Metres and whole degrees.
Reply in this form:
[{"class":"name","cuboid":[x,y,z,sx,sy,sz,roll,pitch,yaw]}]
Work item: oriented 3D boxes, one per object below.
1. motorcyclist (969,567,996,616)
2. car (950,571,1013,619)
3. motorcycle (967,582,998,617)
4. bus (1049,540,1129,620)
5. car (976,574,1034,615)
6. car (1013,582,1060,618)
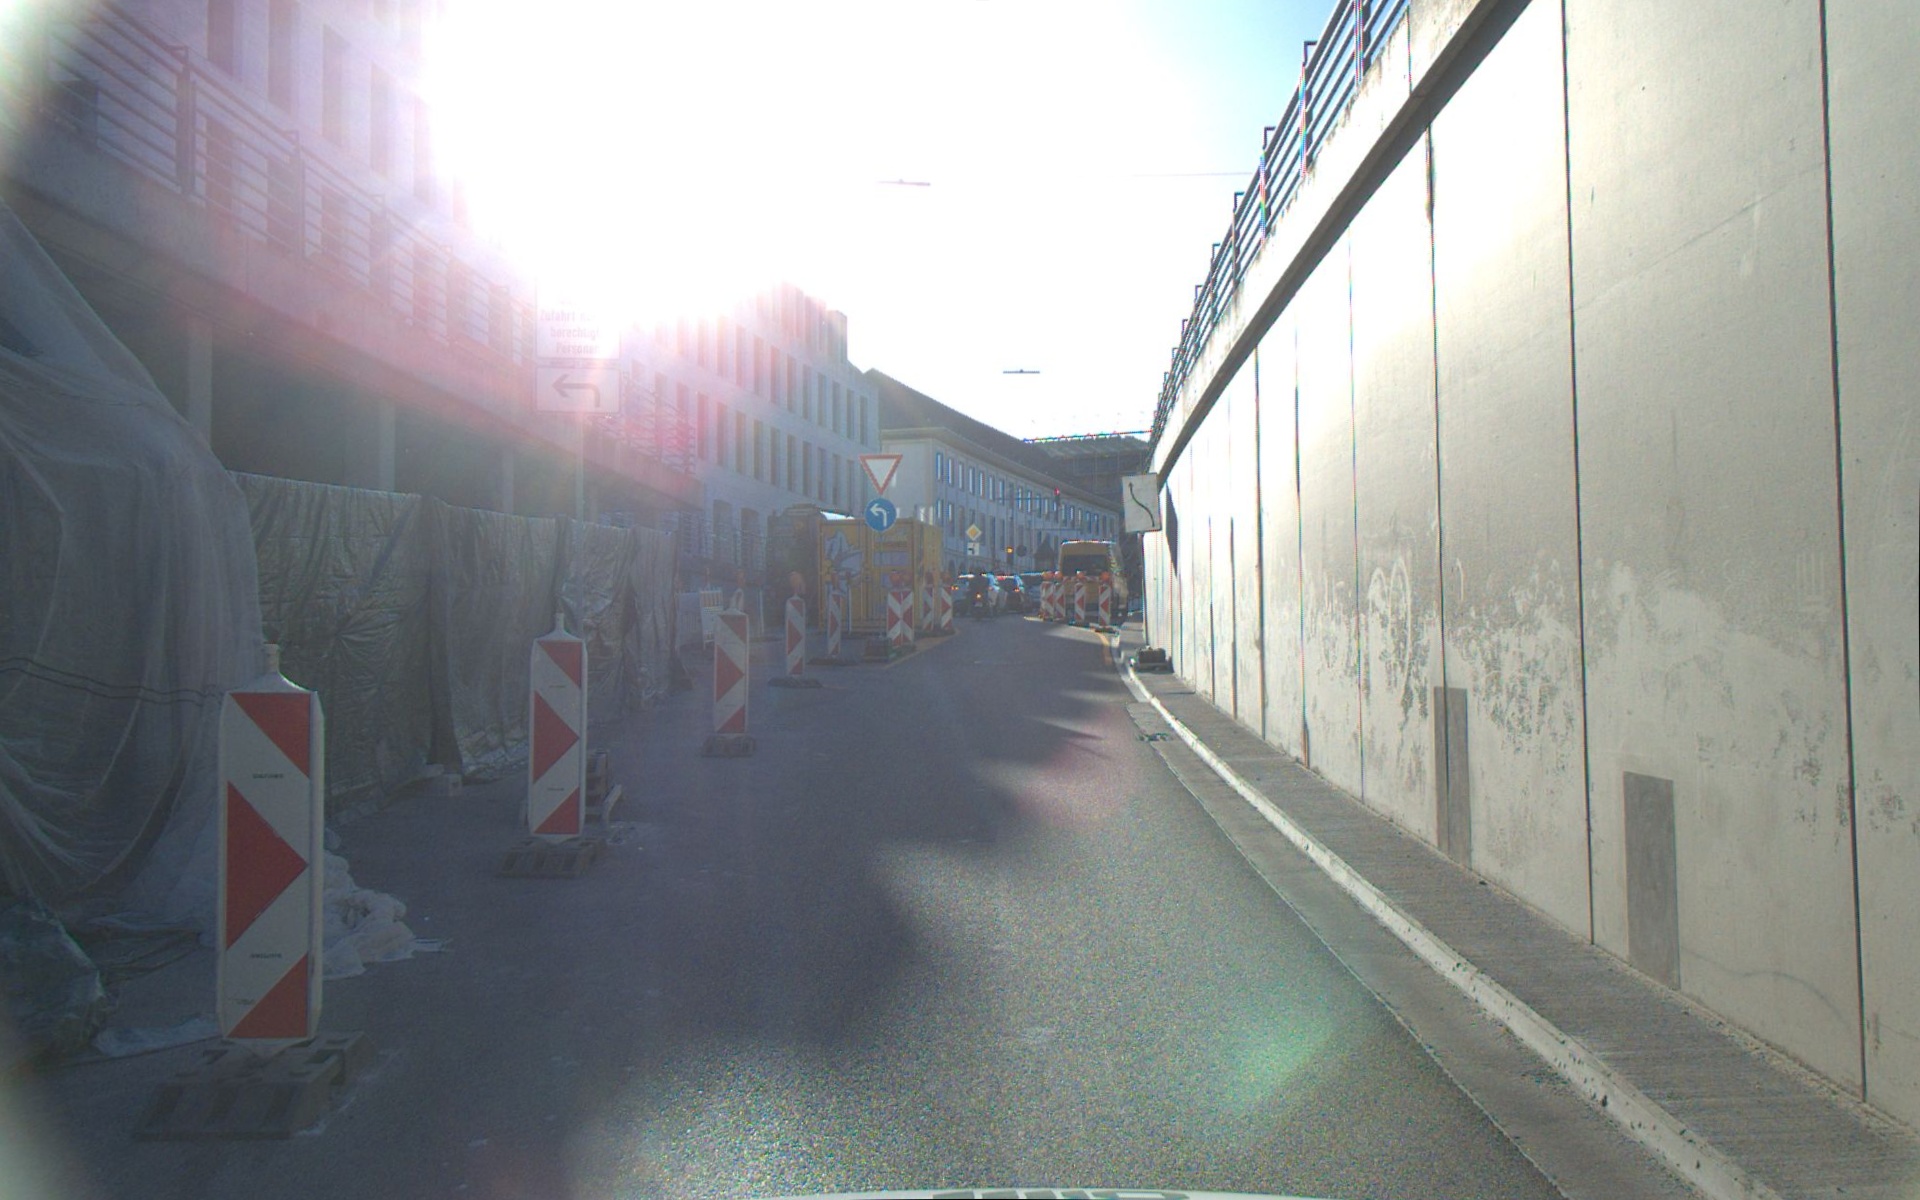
[{"class":"motorcyclist","cuboid":[0.725,-0.264,52.487,0.787,1.531,0.777,0,-3,6]},{"class":"car","cuboid":[0.812,-0.156,59.484,1.738,1.632,4.003,1,0,8]},{"class":"motorcycle","cuboid":[0.729,-0.001,52.512,0.755,1.010,2.185,0,-3,6]},{"class":"bus","cuboid":[4.456,-0.653,56.396,2.177,2.602,4.431,0,0,11]},{"class":"car","cuboid":[1.820,-0.205,65.916,1.782,1.560,4.003,1,0,9]},{"class":"car","cuboid":[3.501,0.022,74.750,1.817,1.560,4.003,1,0,7]}]
